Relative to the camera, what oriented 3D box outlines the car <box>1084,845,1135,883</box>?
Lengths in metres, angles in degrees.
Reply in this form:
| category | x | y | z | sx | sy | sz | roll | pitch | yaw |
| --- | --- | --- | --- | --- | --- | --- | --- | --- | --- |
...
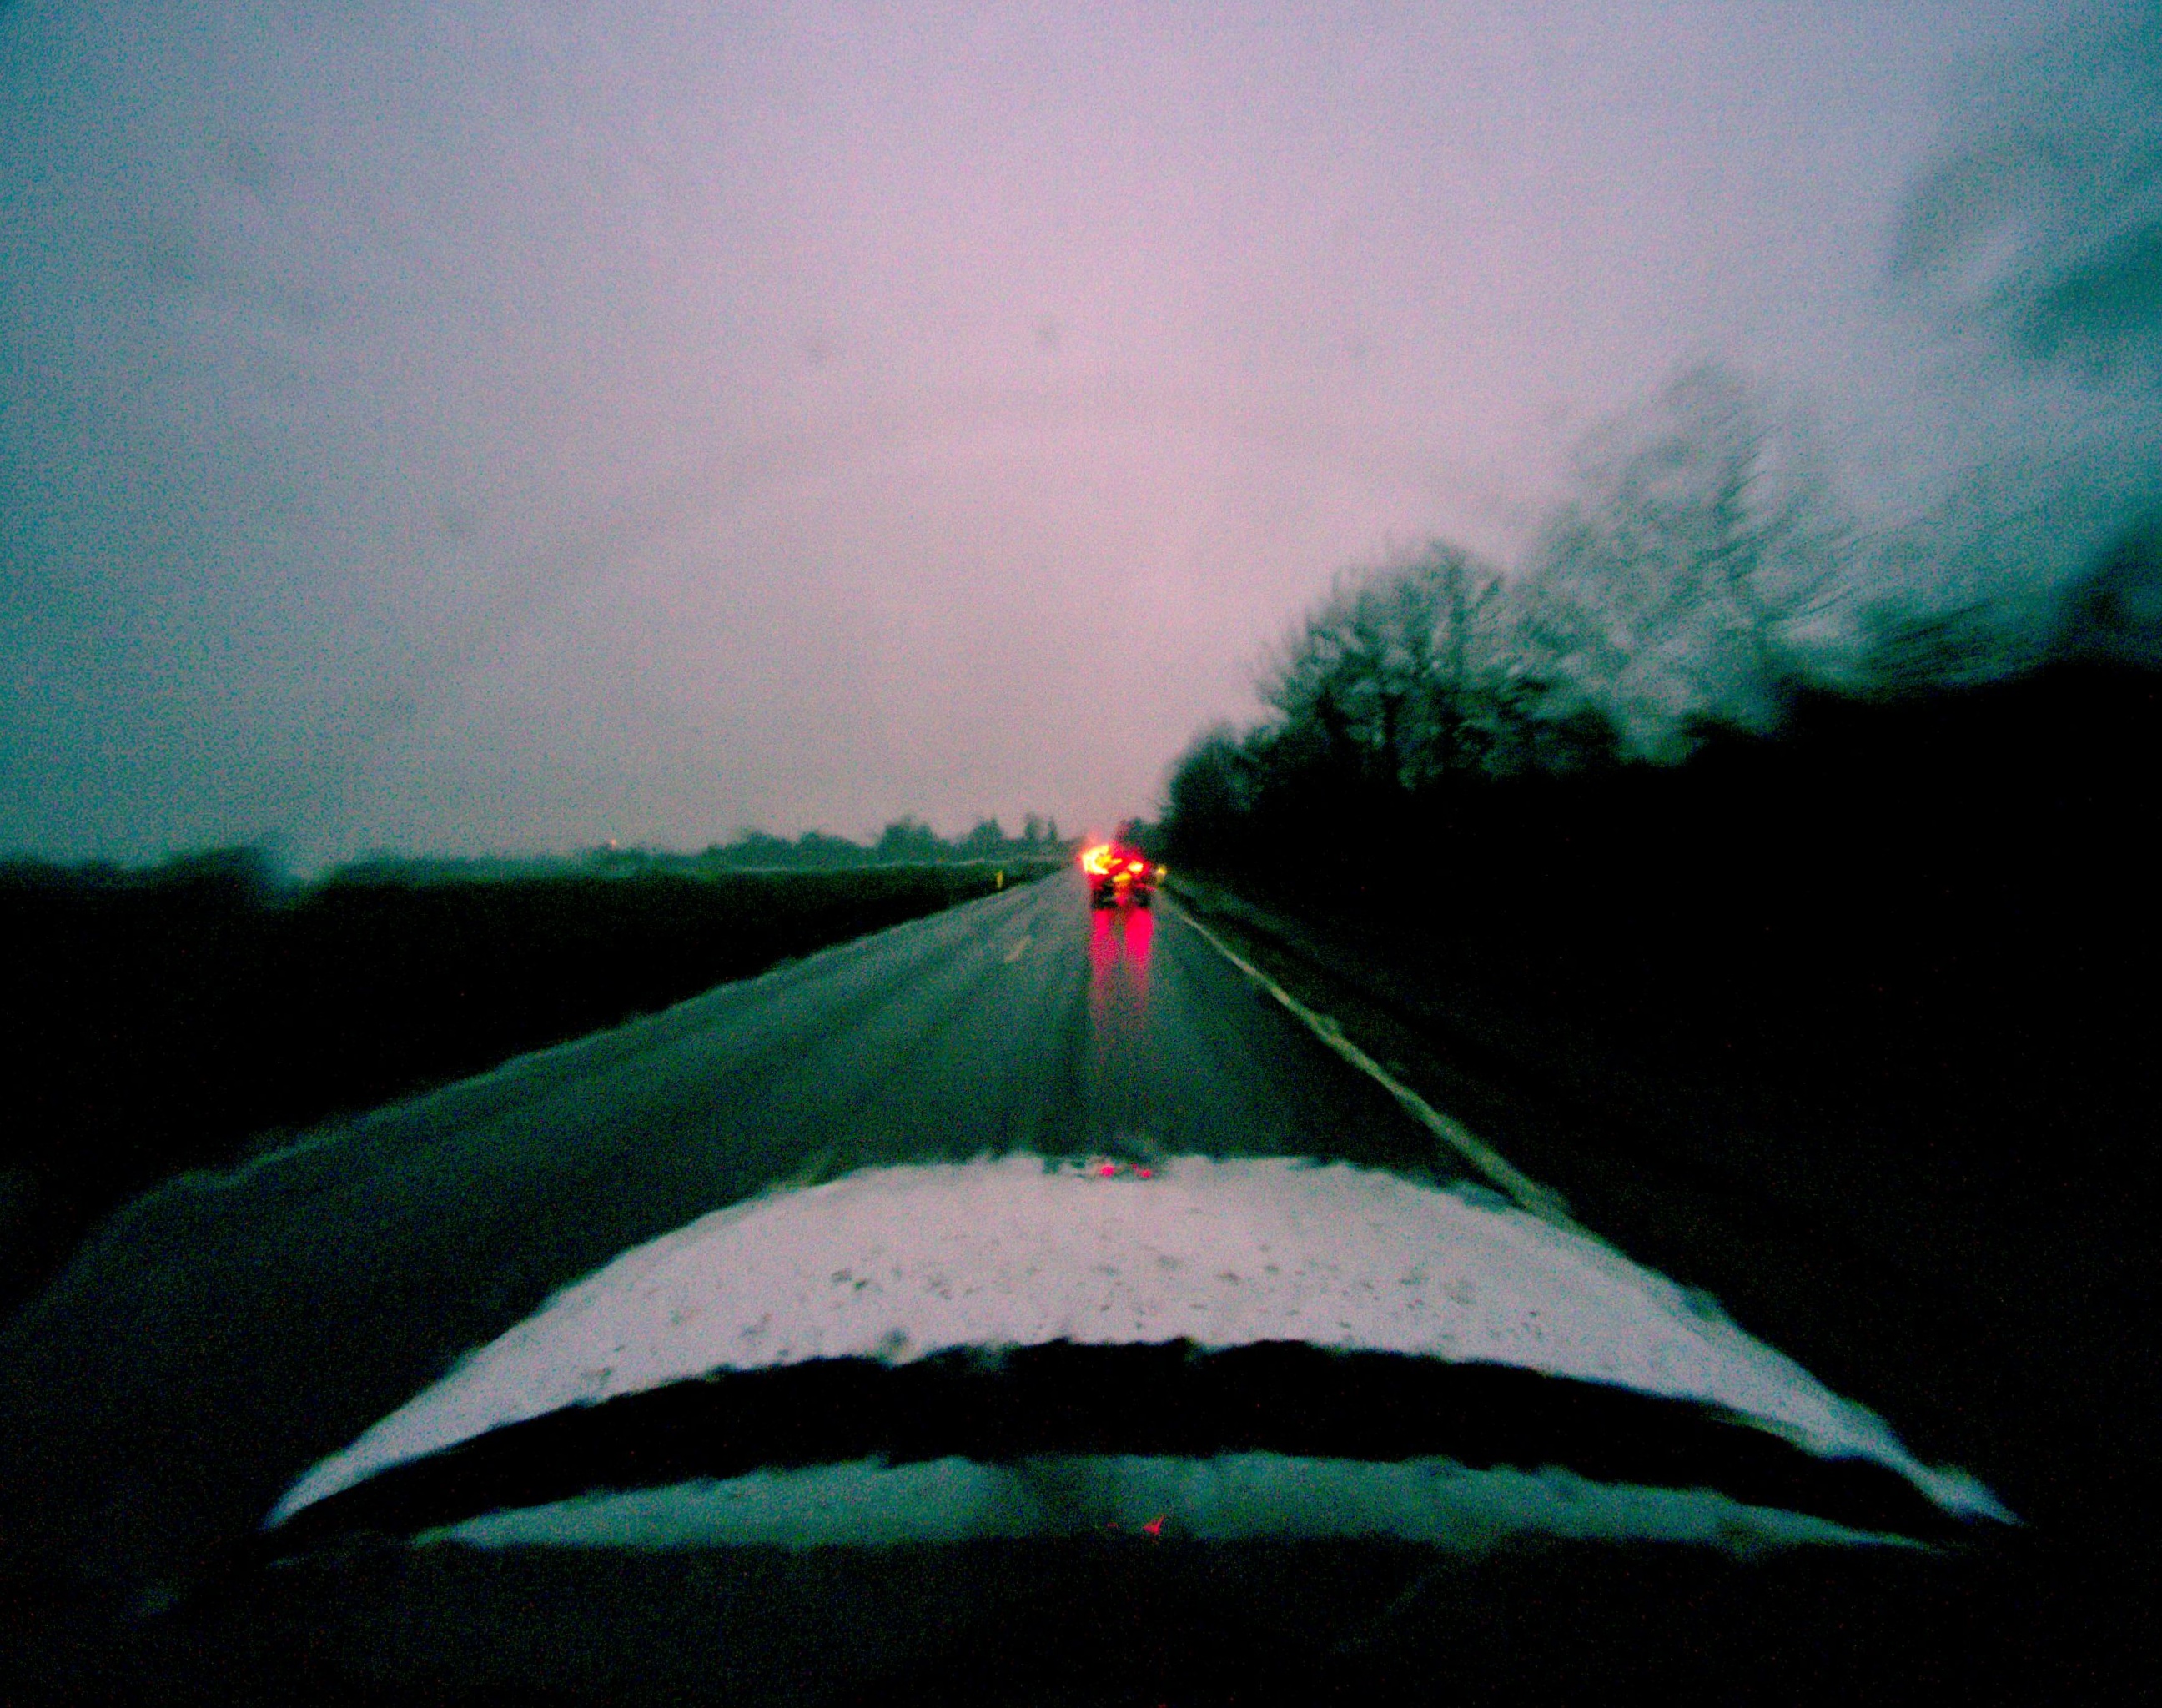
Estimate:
| category | x | y | z | sx | sy | sz | roll | pitch | yaw |
| --- | --- | --- | --- | --- | --- | --- | --- | --- | --- |
| car | 1.723 | 0.534 | 48.312 | 2.745 | 2.035 | 6.594 | -2 | 0 | 2 |

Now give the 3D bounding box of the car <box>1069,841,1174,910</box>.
| category | x | y | z | sx | sy | sz | roll | pitch | yaw |
| --- | --- | --- | --- | --- | --- | --- | --- | --- | --- |
| car | 1.385 | 0.653 | 28.466 | 3.152 | 2.035 | 6.855 | -2 | 0 | 2 |
